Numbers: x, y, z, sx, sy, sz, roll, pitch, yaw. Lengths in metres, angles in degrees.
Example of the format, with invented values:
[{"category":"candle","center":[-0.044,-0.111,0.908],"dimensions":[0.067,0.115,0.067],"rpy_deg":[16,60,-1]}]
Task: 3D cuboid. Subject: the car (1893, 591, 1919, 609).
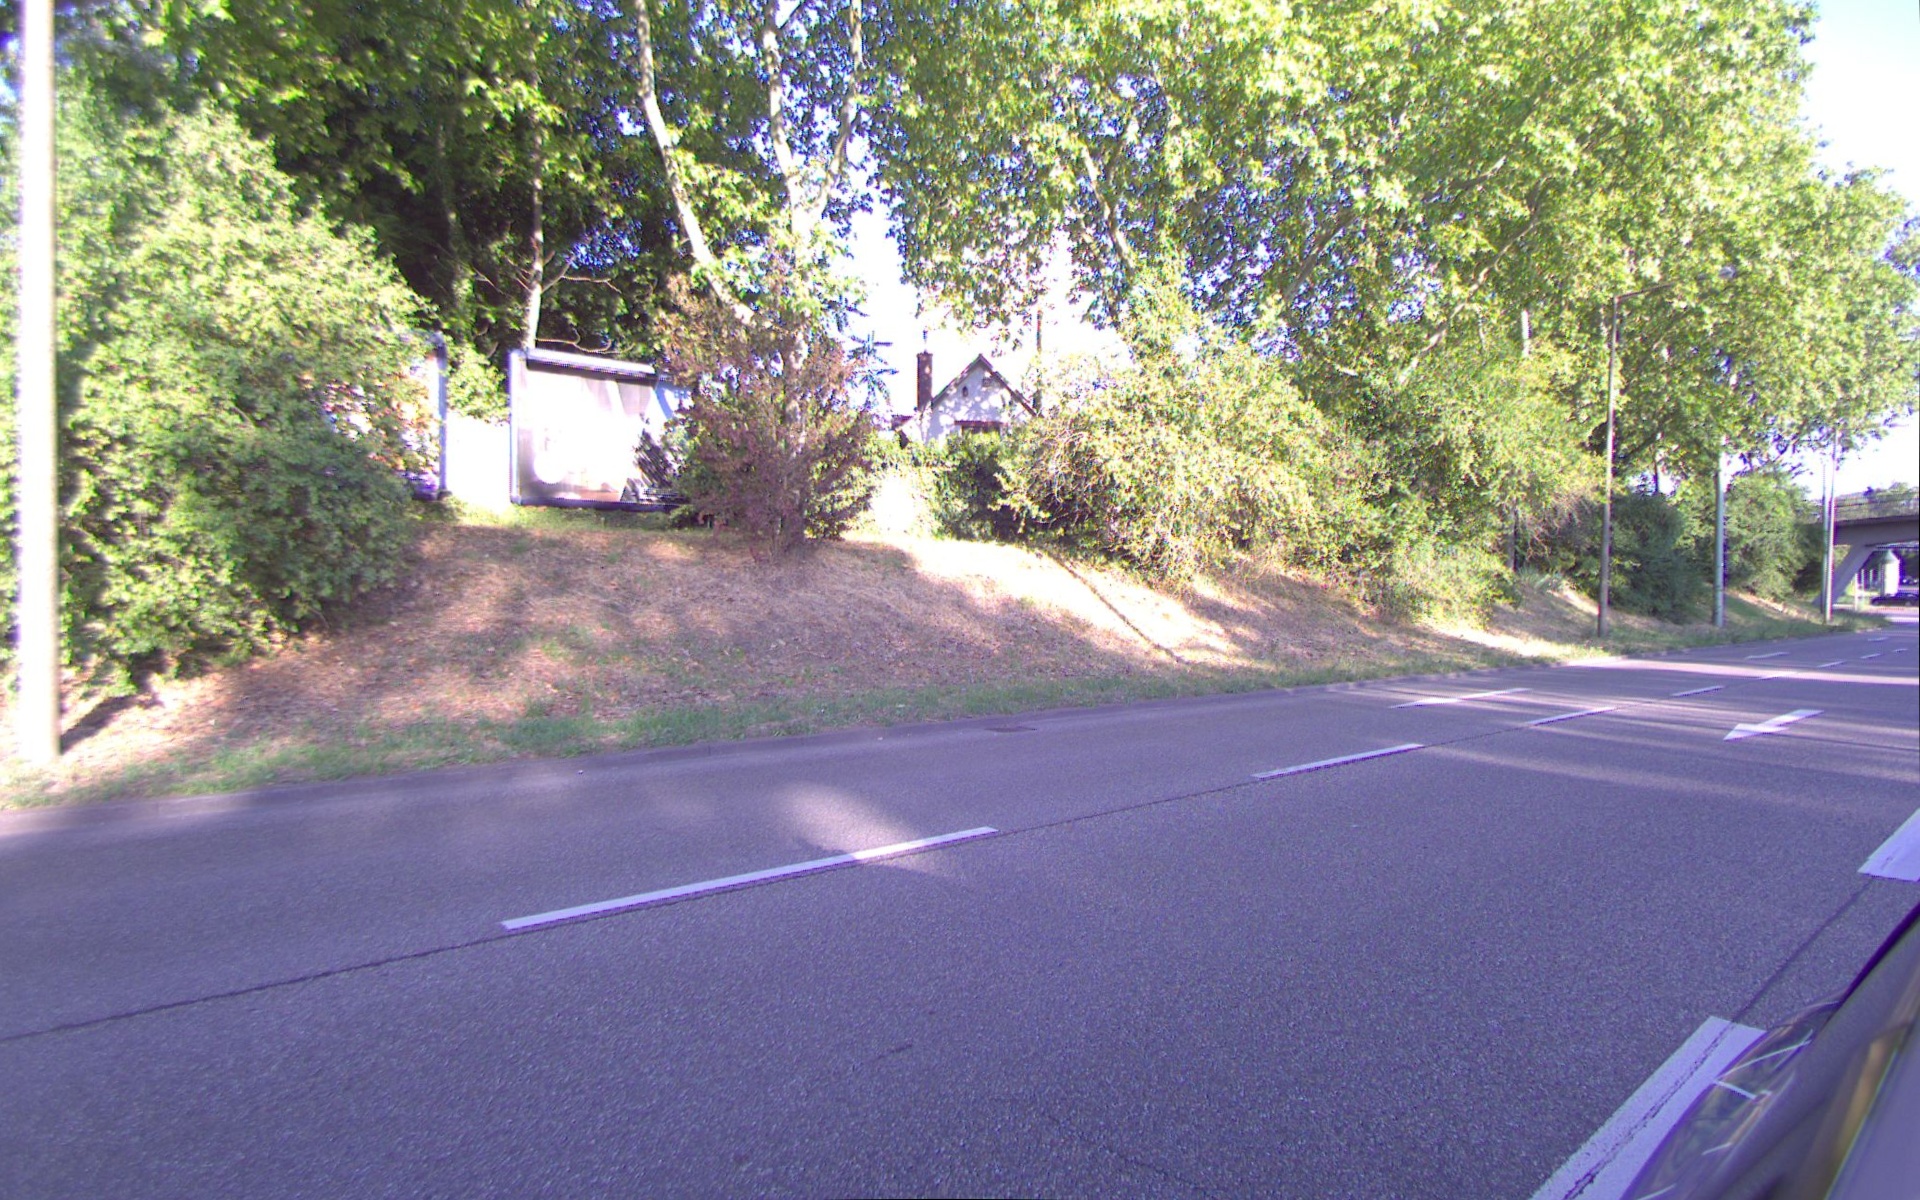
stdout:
[{"category":"car","center":[90.701,-0.037,95.202],"dimensions":[1.773,1.685,3.885],"rpy_deg":[-1,1,-20]}]
